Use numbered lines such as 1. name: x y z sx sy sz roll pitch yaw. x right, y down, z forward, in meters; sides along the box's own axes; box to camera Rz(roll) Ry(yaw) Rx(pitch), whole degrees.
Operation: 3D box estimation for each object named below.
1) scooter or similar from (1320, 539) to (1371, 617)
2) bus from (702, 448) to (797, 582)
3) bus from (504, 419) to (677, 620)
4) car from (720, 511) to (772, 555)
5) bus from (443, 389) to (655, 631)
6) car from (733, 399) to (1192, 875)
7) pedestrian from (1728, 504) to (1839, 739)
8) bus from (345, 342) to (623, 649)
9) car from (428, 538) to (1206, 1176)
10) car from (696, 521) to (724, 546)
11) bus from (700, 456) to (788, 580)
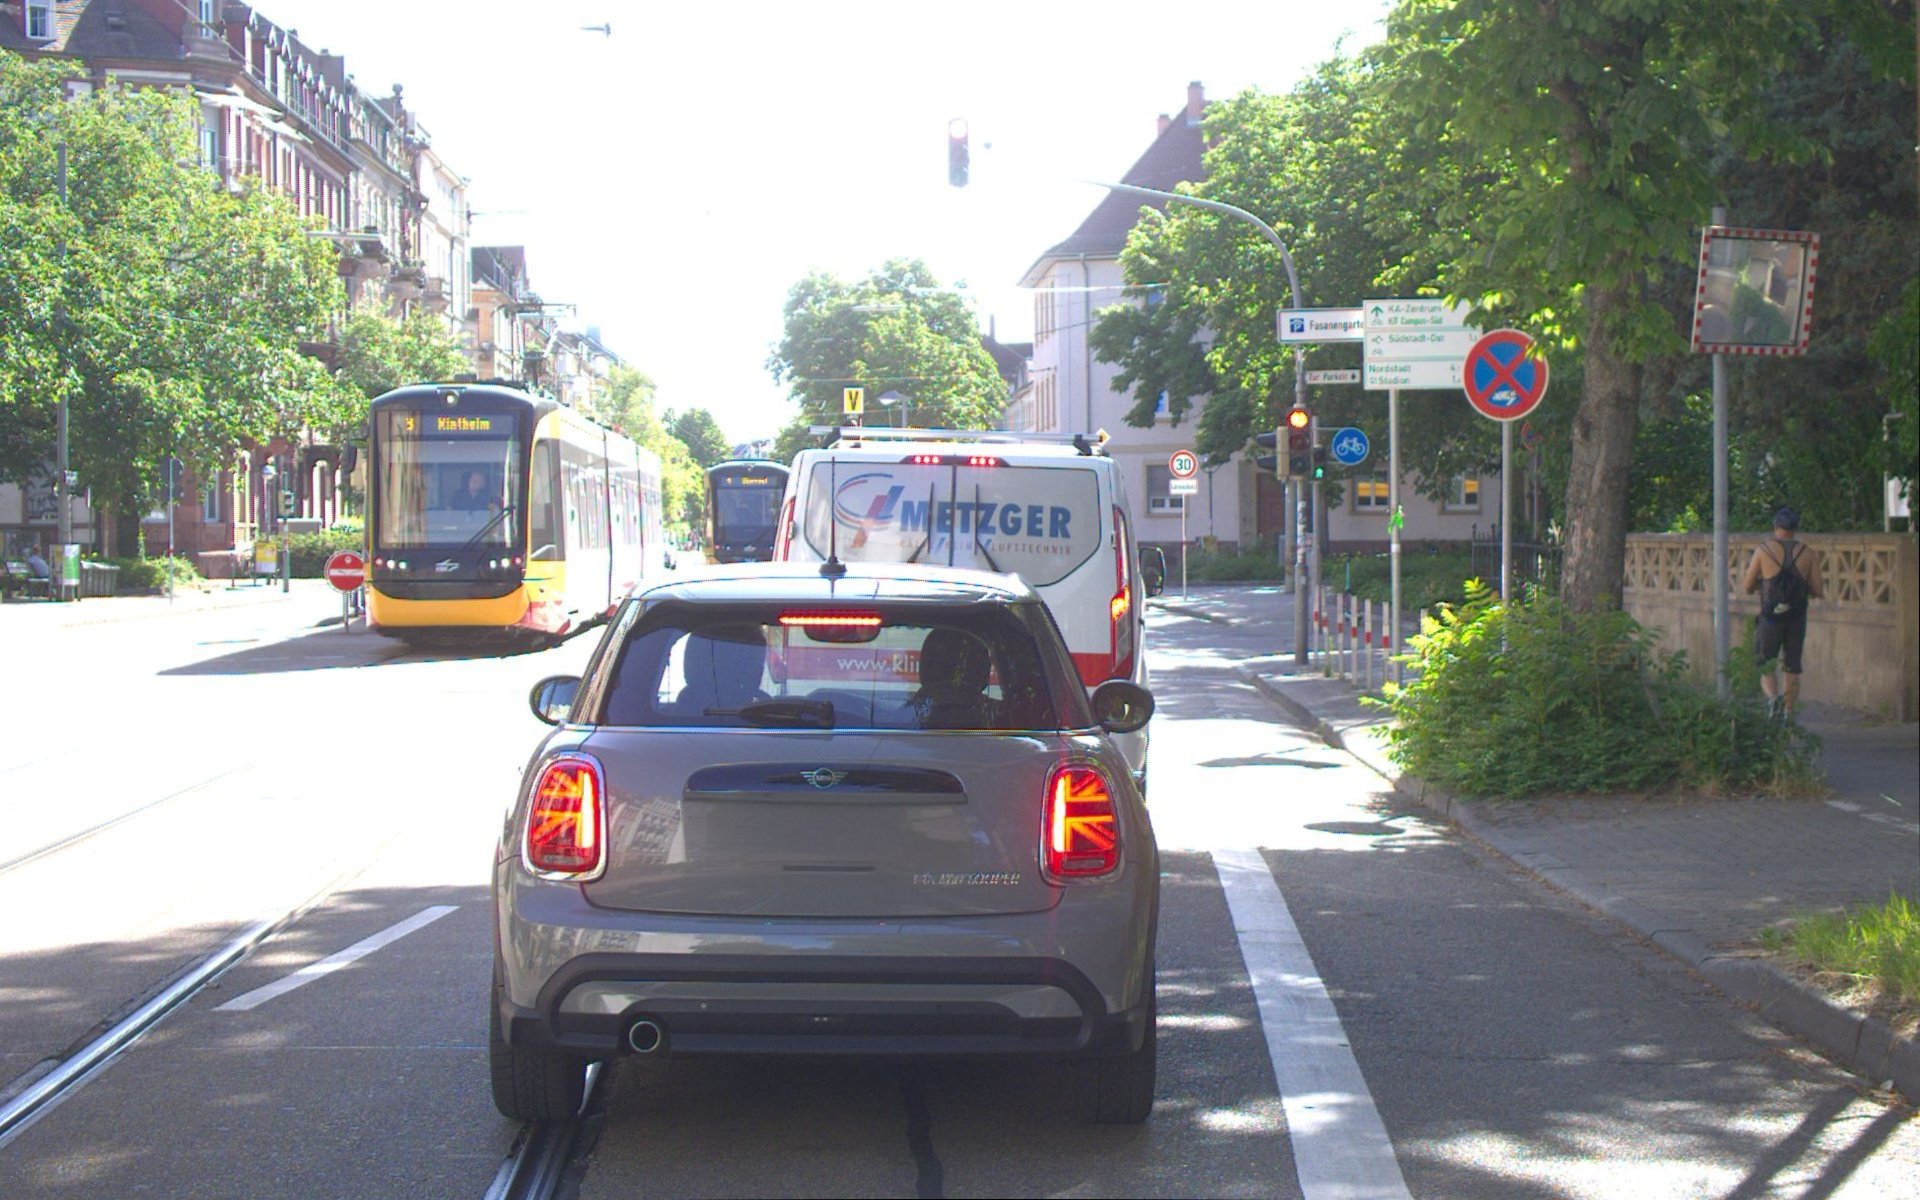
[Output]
1. scooter or similar: 6.590 -0.376 58.824 0.676 1.305 1.329 1 0 -1
2. bus: -5.802 -2.280 94.040 2.385 3.484 7.385 1 1 -5
3. bus: -7.502 -1.585 71.235 2.849 3.764 12.199 1 1 -3
4. car: -7.930 -2.460 127.185 1.863 1.558 4.001 1 1 -4
5. bus: -6.960 -1.473 59.720 2.859 3.764 11.185 1 1 -3
6. car: -0.017 0.149 18.544 2.118 2.200 4.945 1 1 -1
7. pedestrian: 5.953 0.151 24.881 0.592 1.665 0.647 -2 0 -1
8. bus: -6.467 -1.353 48.402 2.859 3.764 11.499 1 1 -3
9. car: -0.361 0.588 10.109 1.815 1.483 4.000 1 1 -1
10. car: -16.191 -4.295 222.541 1.775 1.612 4.001 1 1 -4
11. bus: -6.407 -2.376 101.451 2.385 3.484 7.385 1 1 -5
